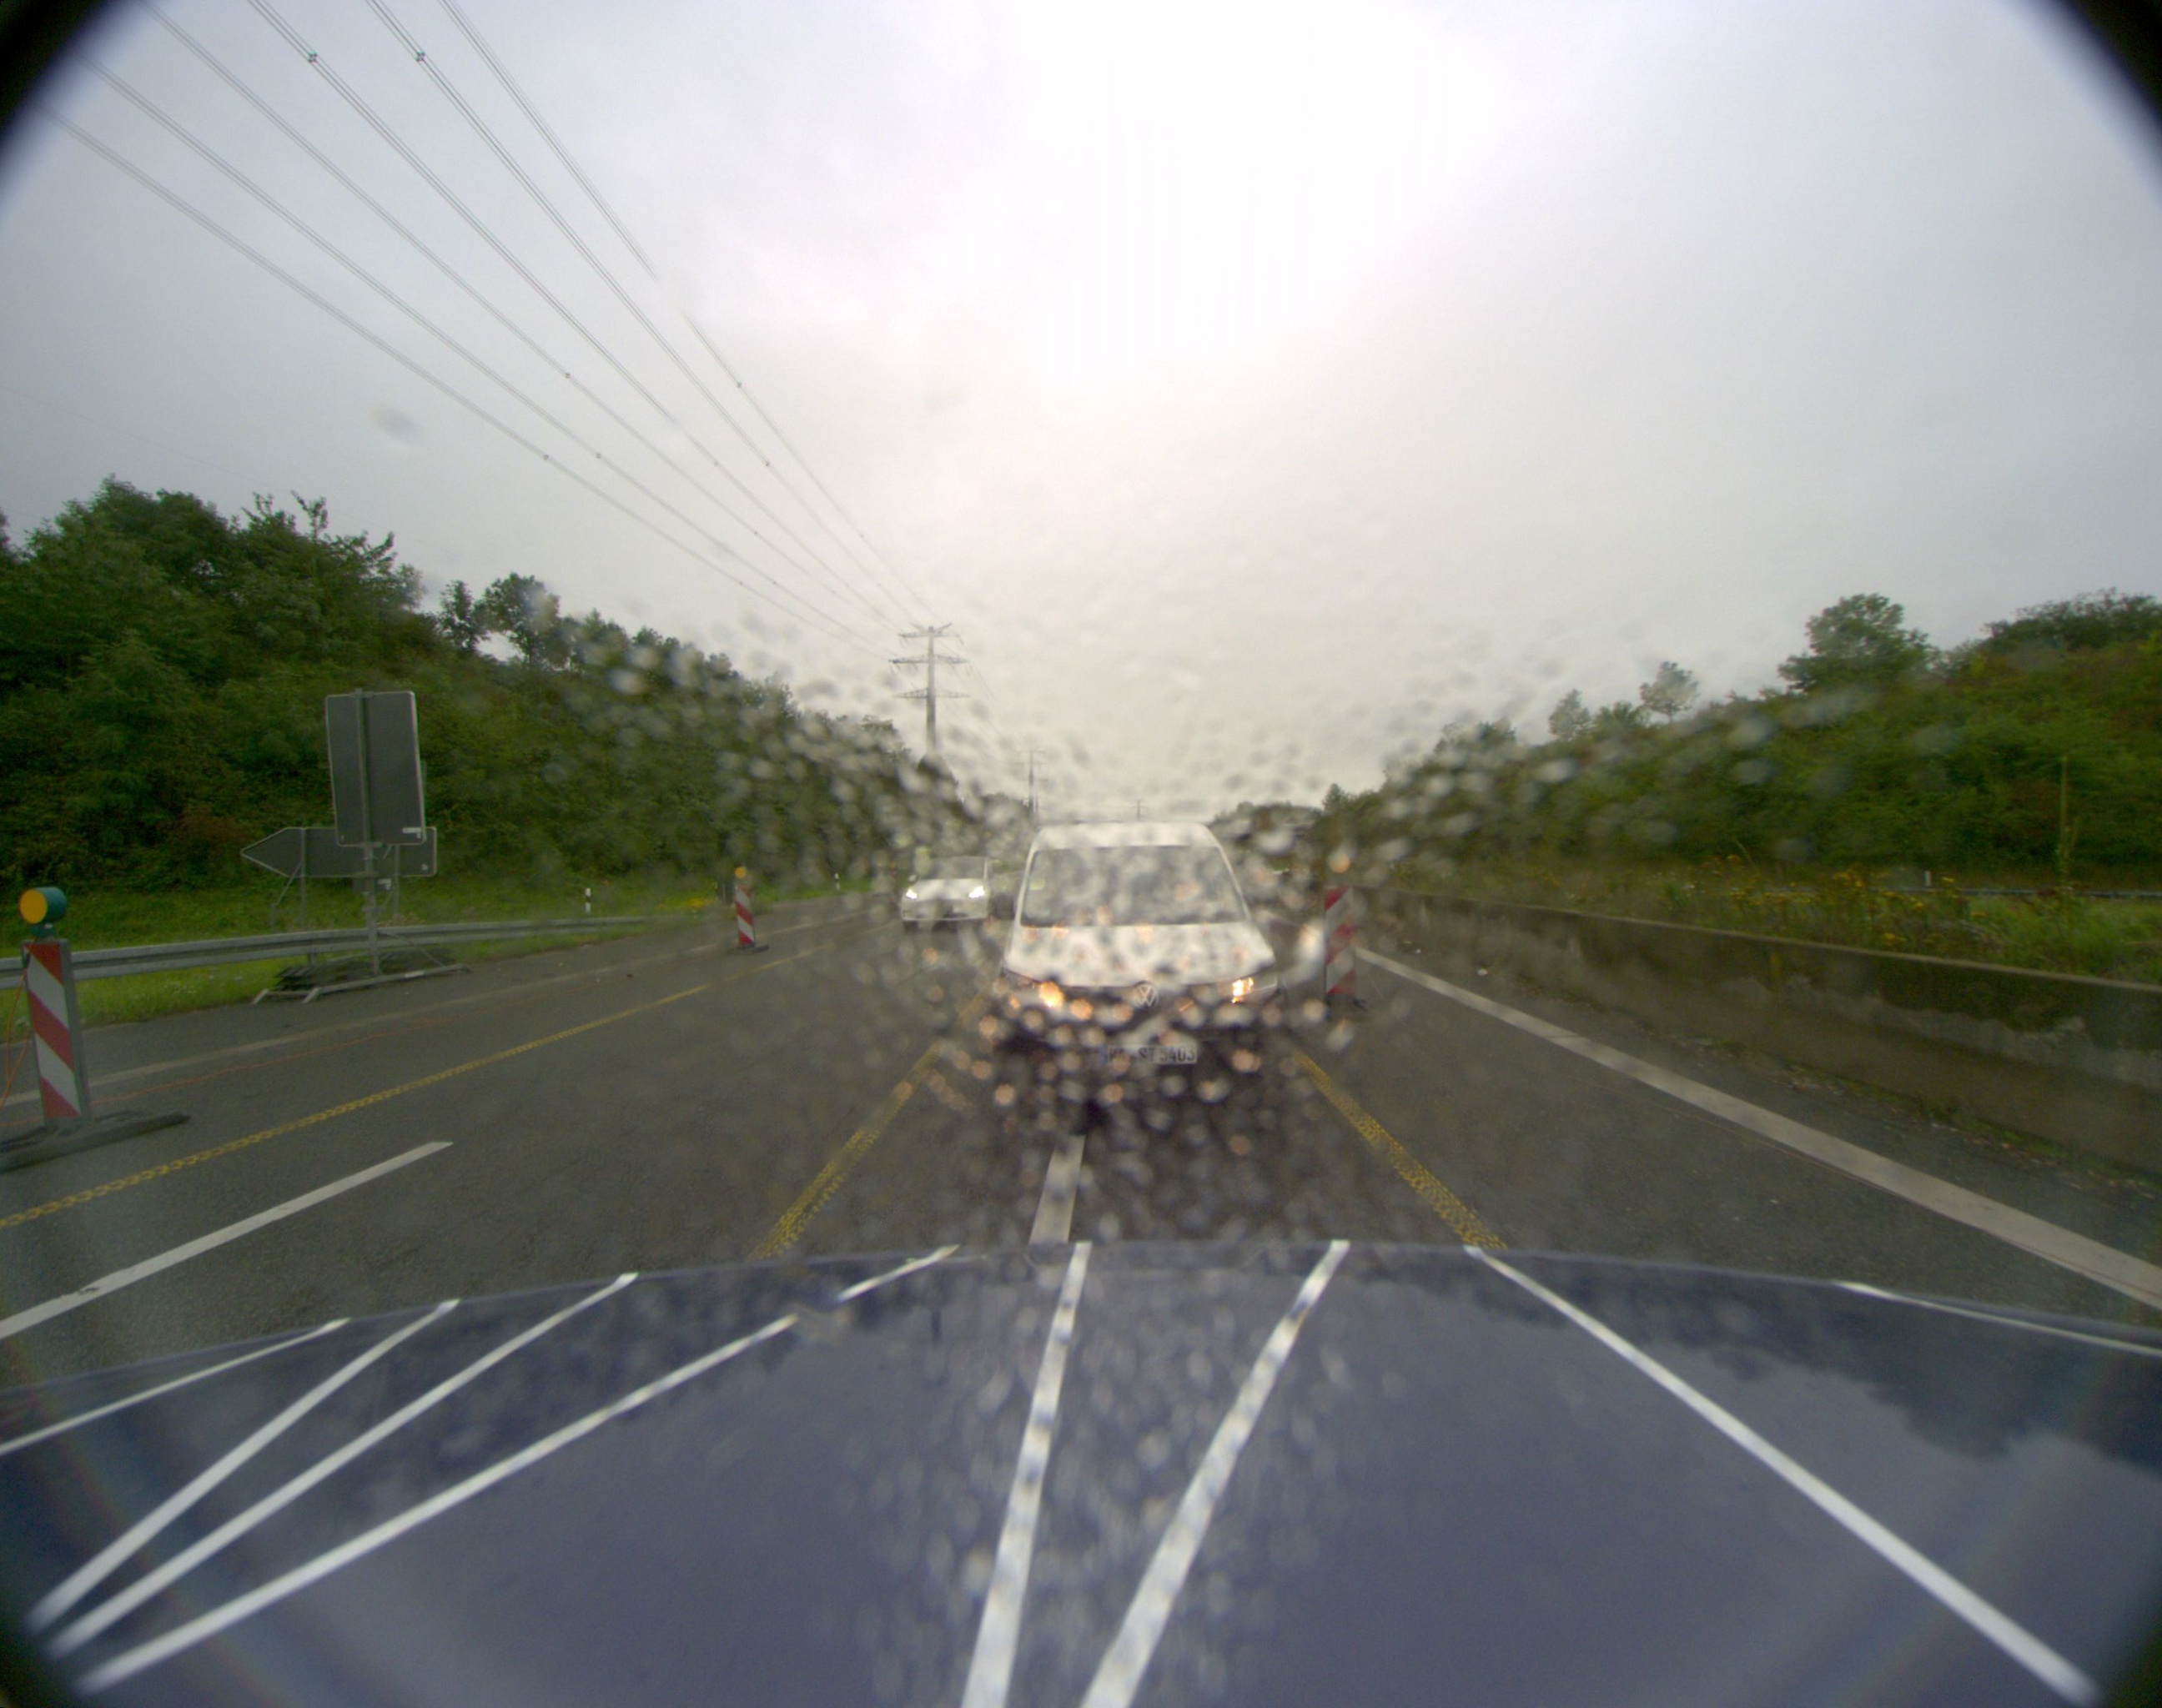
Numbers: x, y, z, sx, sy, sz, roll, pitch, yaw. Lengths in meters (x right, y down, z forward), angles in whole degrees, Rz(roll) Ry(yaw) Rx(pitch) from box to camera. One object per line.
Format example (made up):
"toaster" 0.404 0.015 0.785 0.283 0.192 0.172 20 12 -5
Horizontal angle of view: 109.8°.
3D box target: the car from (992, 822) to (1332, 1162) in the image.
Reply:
"car" 0.464 0.740 6.423 1.770 1.774 4.647 -2 0 1

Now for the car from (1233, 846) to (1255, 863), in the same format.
"car" 23.928 0.092 111.835 2.245 2.426 5.885 0 0 4

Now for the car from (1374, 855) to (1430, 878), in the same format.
"car" 20.837 0.788 49.453 1.998 1.471 4.109 0 0 2

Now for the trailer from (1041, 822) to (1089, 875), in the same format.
"trailer" -1.147 -0.521 62.184 2.525 3.812 12.353 -2 1 5

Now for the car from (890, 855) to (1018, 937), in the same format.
"car" -2.873 0.875 18.666 2.051 1.587 5.801 -2 0 1

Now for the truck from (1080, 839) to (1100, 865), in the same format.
"truck" 1.401 -0.381 118.491 2.747 3.912 5.397 -2 1 2

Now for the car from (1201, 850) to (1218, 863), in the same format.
"car" 20.738 0.416 122.649 1.998 2.035 4.779 0 0 2

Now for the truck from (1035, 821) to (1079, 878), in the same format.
"truck" -1.709 -0.332 55.648 2.553 3.924 4.001 -2 1 6

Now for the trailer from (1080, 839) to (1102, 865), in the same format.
"trailer" 1.776 -0.407 124.065 2.808 3.980 14.150 -2 1 3
